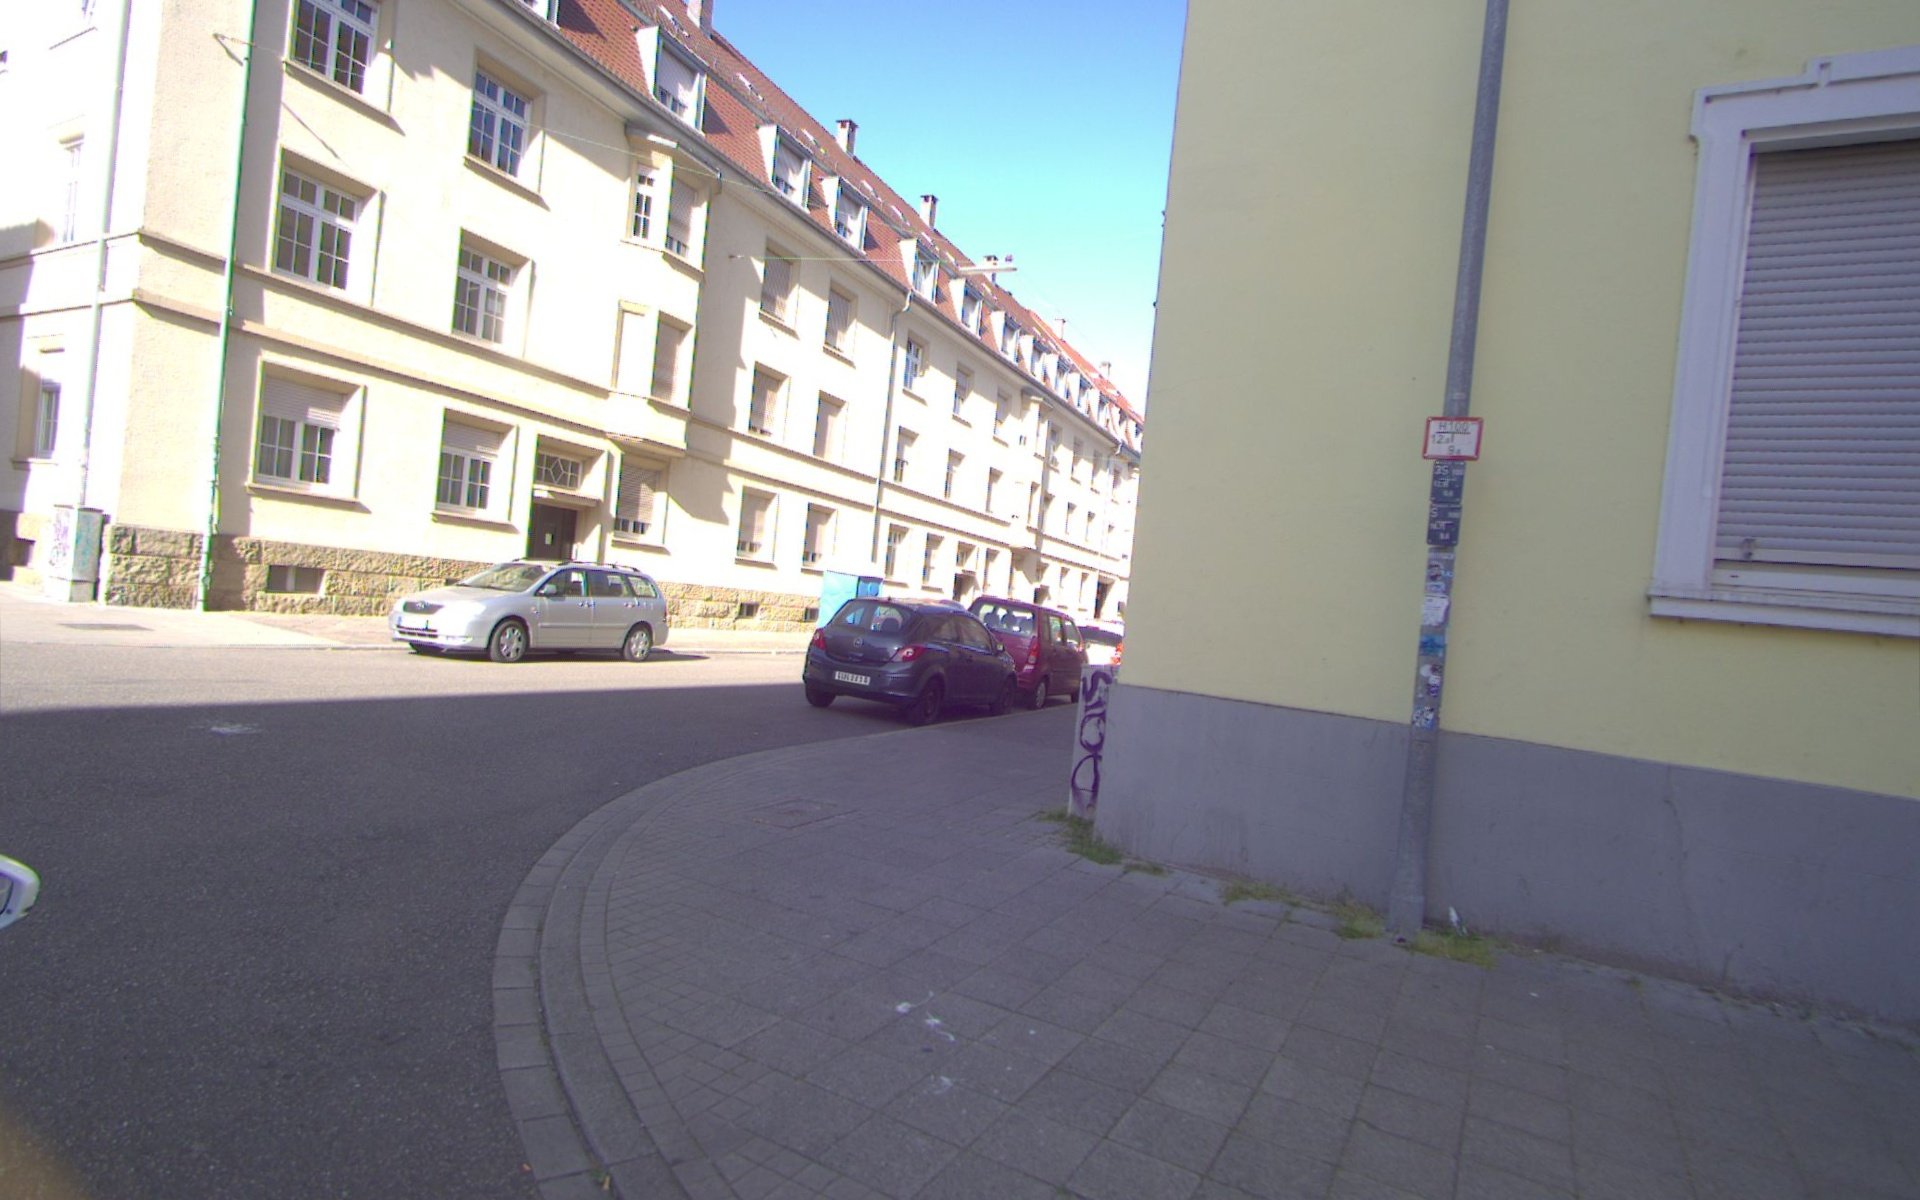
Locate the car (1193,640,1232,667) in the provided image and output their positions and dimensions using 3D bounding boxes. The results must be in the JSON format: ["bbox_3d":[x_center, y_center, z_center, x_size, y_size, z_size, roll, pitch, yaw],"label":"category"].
[{"bbox_3d":[16.460,3.457,65.410,1.721,1.547,4.124,4,-1,23],"label":"car"}]

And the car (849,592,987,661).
[{"bbox_3d":[-1.002,0.755,26.859,1.795,1.573,4.550,4,-1,23],"label":"car"}]

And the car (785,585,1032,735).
[{"bbox_3d":[-0.514,0.758,13.252,1.662,1.486,3.632,8,0,23],"label":"car"}]

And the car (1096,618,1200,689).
[{"bbox_3d":[4.888,1.360,25.795,1.662,1.451,3.865,8,0,23],"label":"car"}]

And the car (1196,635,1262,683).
[{"bbox_3d":[9.980,2.156,37.133,1.662,1.451,3.865,8,0,23],"label":"car"}]

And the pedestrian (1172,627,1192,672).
[{"bbox_3d":[8.963,1.995,40.607,0.522,1.738,0.609,6,1,23],"label":"pedestrian"}]

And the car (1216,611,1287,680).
[{"bbox_3d":[12.280,1.929,42.181,1.990,2.473,4.925,8,1,23],"label":"car"}]

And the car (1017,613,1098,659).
[{"bbox_3d":[3.705,1.376,37.551,1.721,1.488,4.124,4,-1,23],"label":"car"}]

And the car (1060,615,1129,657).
[{"bbox_3d":[5.689,1.548,42.194,1.721,1.547,4.124,4,-1,23],"label":"car"}]

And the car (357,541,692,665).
[{"bbox_3d":[-6.240,0.133,15.075,1.795,1.486,4.550,4,-1,23],"label":"car"}]

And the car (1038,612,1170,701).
[{"bbox_3d":[3.165,1.189,21.445,1.662,1.490,3.865,8,0,23],"label":"car"}]

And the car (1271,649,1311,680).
[{"bbox_3d":[18.725,3.638,56.757,1.662,1.451,3.865,8,0,23],"label":"car"}]

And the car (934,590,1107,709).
[{"bbox_3d":[1.158,0.844,17.295,1.662,1.619,3.632,8,0,23],"label":"car"}]

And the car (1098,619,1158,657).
[{"bbox_3d":[7.764,1.785,46.275,1.721,1.547,4.124,4,-1,23],"label":"car"}]
